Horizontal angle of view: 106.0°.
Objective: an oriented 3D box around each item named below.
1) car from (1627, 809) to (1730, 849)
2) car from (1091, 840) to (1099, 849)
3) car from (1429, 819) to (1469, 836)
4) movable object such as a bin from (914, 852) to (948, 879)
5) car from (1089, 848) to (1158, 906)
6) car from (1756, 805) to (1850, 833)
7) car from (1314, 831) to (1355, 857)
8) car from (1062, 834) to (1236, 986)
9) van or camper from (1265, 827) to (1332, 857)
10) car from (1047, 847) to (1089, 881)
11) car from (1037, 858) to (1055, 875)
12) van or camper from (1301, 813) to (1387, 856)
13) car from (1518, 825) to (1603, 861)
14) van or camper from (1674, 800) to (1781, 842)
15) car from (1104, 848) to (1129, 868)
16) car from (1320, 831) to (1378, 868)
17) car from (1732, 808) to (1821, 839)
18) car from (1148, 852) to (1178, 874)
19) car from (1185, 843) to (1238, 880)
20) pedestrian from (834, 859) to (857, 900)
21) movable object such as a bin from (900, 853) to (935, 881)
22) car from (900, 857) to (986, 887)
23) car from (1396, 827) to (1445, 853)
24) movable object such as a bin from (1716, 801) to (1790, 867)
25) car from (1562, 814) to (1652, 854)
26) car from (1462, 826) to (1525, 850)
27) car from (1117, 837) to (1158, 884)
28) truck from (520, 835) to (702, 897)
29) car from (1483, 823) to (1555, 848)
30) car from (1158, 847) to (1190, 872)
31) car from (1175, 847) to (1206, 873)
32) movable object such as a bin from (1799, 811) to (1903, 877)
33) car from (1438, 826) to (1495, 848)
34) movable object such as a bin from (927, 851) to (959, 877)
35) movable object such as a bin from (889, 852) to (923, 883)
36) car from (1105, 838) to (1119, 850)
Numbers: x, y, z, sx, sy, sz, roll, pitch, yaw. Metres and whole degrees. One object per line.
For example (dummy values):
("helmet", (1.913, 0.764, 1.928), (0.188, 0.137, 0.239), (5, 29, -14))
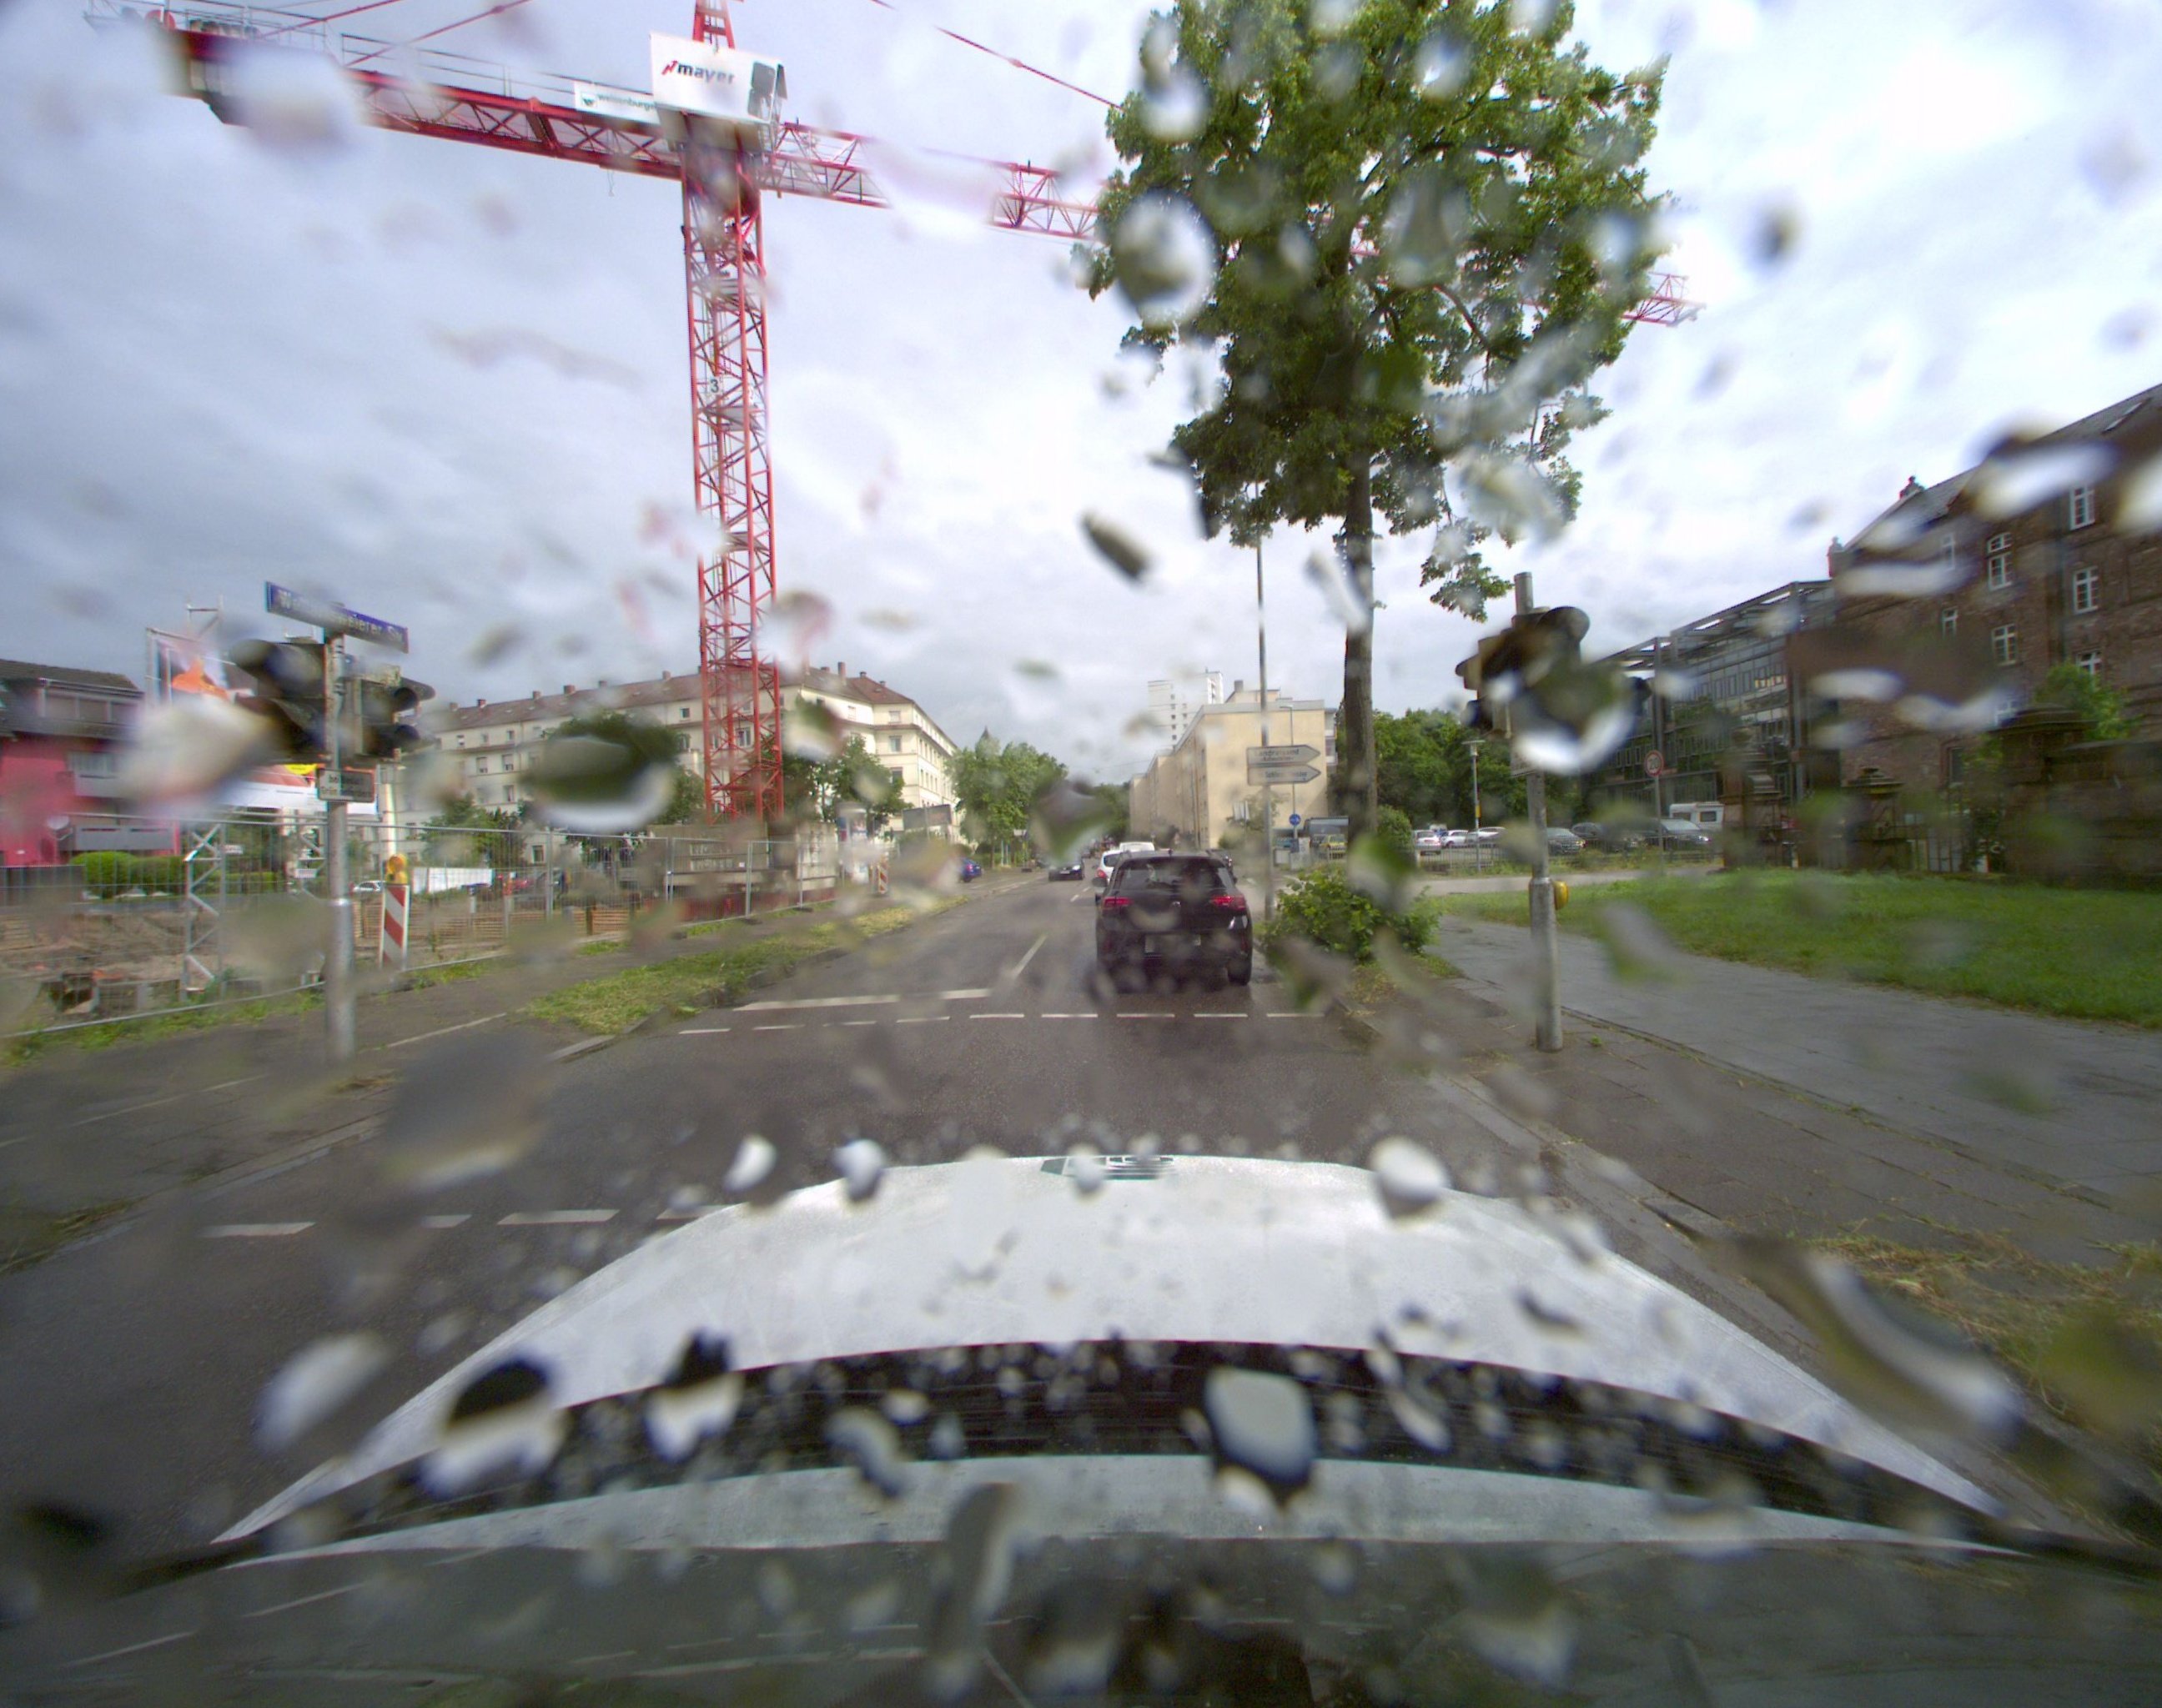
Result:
("car", (28.109, -1.115, 38.509), (1.845, 1.679, 4.428), (-3, 0, 4))
("car", (3.038, -2.059, 181.578), (1.660, 1.837, 4.000), (-3, 0, 0))
("car", (36.032, -2.579, 79.823), (3.209, 1.397, 1.511), (-3, 0, 5))
("movable object such as a bin", (-9.932, 0.773, 53.959), (1.524, 1.674, 1.674), (-3, 1, 21))
("car", (1.194, 0.615, 23.342), (1.806, 1.503, 4.002), (0, -1, 2))
("car", (40.264, -1.936, 45.475), (3.650, 1.486, 1.674), (1, 0, 3))
("car", (15.674, -0.603, 50.498), (1.603, 1.448, 3.421), (-3, 0, 5))
("car", (0.814, 0.624, 10.909), (1.866, 1.645, 4.063), (-1, 0, 2))
("van or camper", (17.185, -0.980, 64.447), (4.736, 2.131, 2.325), (-2, 1, 5))
("car", (-0.653, 0.482, 43.005), (1.833, 1.608, 4.004), (-4, 0, 3))
("car", (-3.418, 1.158, 79.250), (1.582, 1.505, 4.061), (-4, 0, -2))
("van or camper", (17.462, -1.259, 54.201), (4.977, 2.554, 2.177), (-2, -1, 3))
("car", (22.538, -0.517, 38.485), (1.819, 1.527, 4.432), (-3, 0, 7))
("van or camper", (39.718, -1.999, 50.136), (4.768, 2.486, 2.258), (0, -1, 1))
("car", (2.817, 0.308, 65.179), (1.600, 1.510, 3.545), (-4, 0, -2))
("car", (13.735, -0.234, 41.978), (1.796, 1.750, 4.243), (-3, 0, 4))
("car", (40.494, -1.769, 47.448), (3.651, 1.576, 1.674), (-3, 0, 3))
("car", (6.249, 0.715, 62.246), (1.744, 1.508, 4.108), (-2, -2, -2))
("car", (6.203, 0.338, 39.114), (1.768, 1.539, 4.378), (-5, 0, 1))
("pedestrian", (-9.371, 1.007, 32.397), (0.727, 1.629, 0.677), (0, -1, -36))
("movable object such as a bin", (-10.527, 0.828, 52.411), (1.524, 1.656, 1.536), (-3, 1, 21))
("car", (-7.777, 1.015, 45.967), (4.401, 1.585, 1.828), (-1, 1, 13))
("car", (20.736, -0.845, 49.868), (1.641, 1.486, 3.724), (-3, 0, 5))
("movable object such as a bin", (15.854, -0.470, 19.235), (0.796, 1.457, 1.098), (-4, 0, 3))
("car", (24.868, -0.926, 38.676), (1.843, 1.679, 4.433), (-3, 0, 8))
("car", (29.680, -1.149, 58.612), (3.649, 1.486, 1.642), (-3, 0, 5))
("car", (2.709, 0.309, 38.759), (1.828, 2.103, 4.004), (0, -1, 4))
("truck", (-28.917, 0.718, 50.180), (9.738, 3.184, 3.808), (-3, 0, 15))
("car", (30.142, -1.279, 56.116), (3.957, 1.465, 1.674), (-3, 0, 3))
("car", (6.355, 0.393, 55.803), (1.599, 1.508, 4.159), (-5, 0, 0))
("car", (6.790, 0.382, 50.790), (1.748, 1.528, 4.005), (0, -1, 5))
("movable object such as a bin", (18.259, -0.239, 19.350), (1.101, 1.457, 1.392), (-4, 0, 3))
("car", (30.239, -1.315, 63.954), (3.649, 1.486, 1.642), (-3, 0, 5))
("movable object such as a bin", (-9.369, 0.698, 55.462), (1.524, 1.662, 1.466), (-3, 1, 21))
("movable object such as a bin", (-10.939, 0.850, 50.880), (1.524, 1.824, 1.270), (-3, 1, 21))
("car", (4.572, -1.475, 118.587), (1.833, 1.608, 3.678), (-4, 0, 3))
